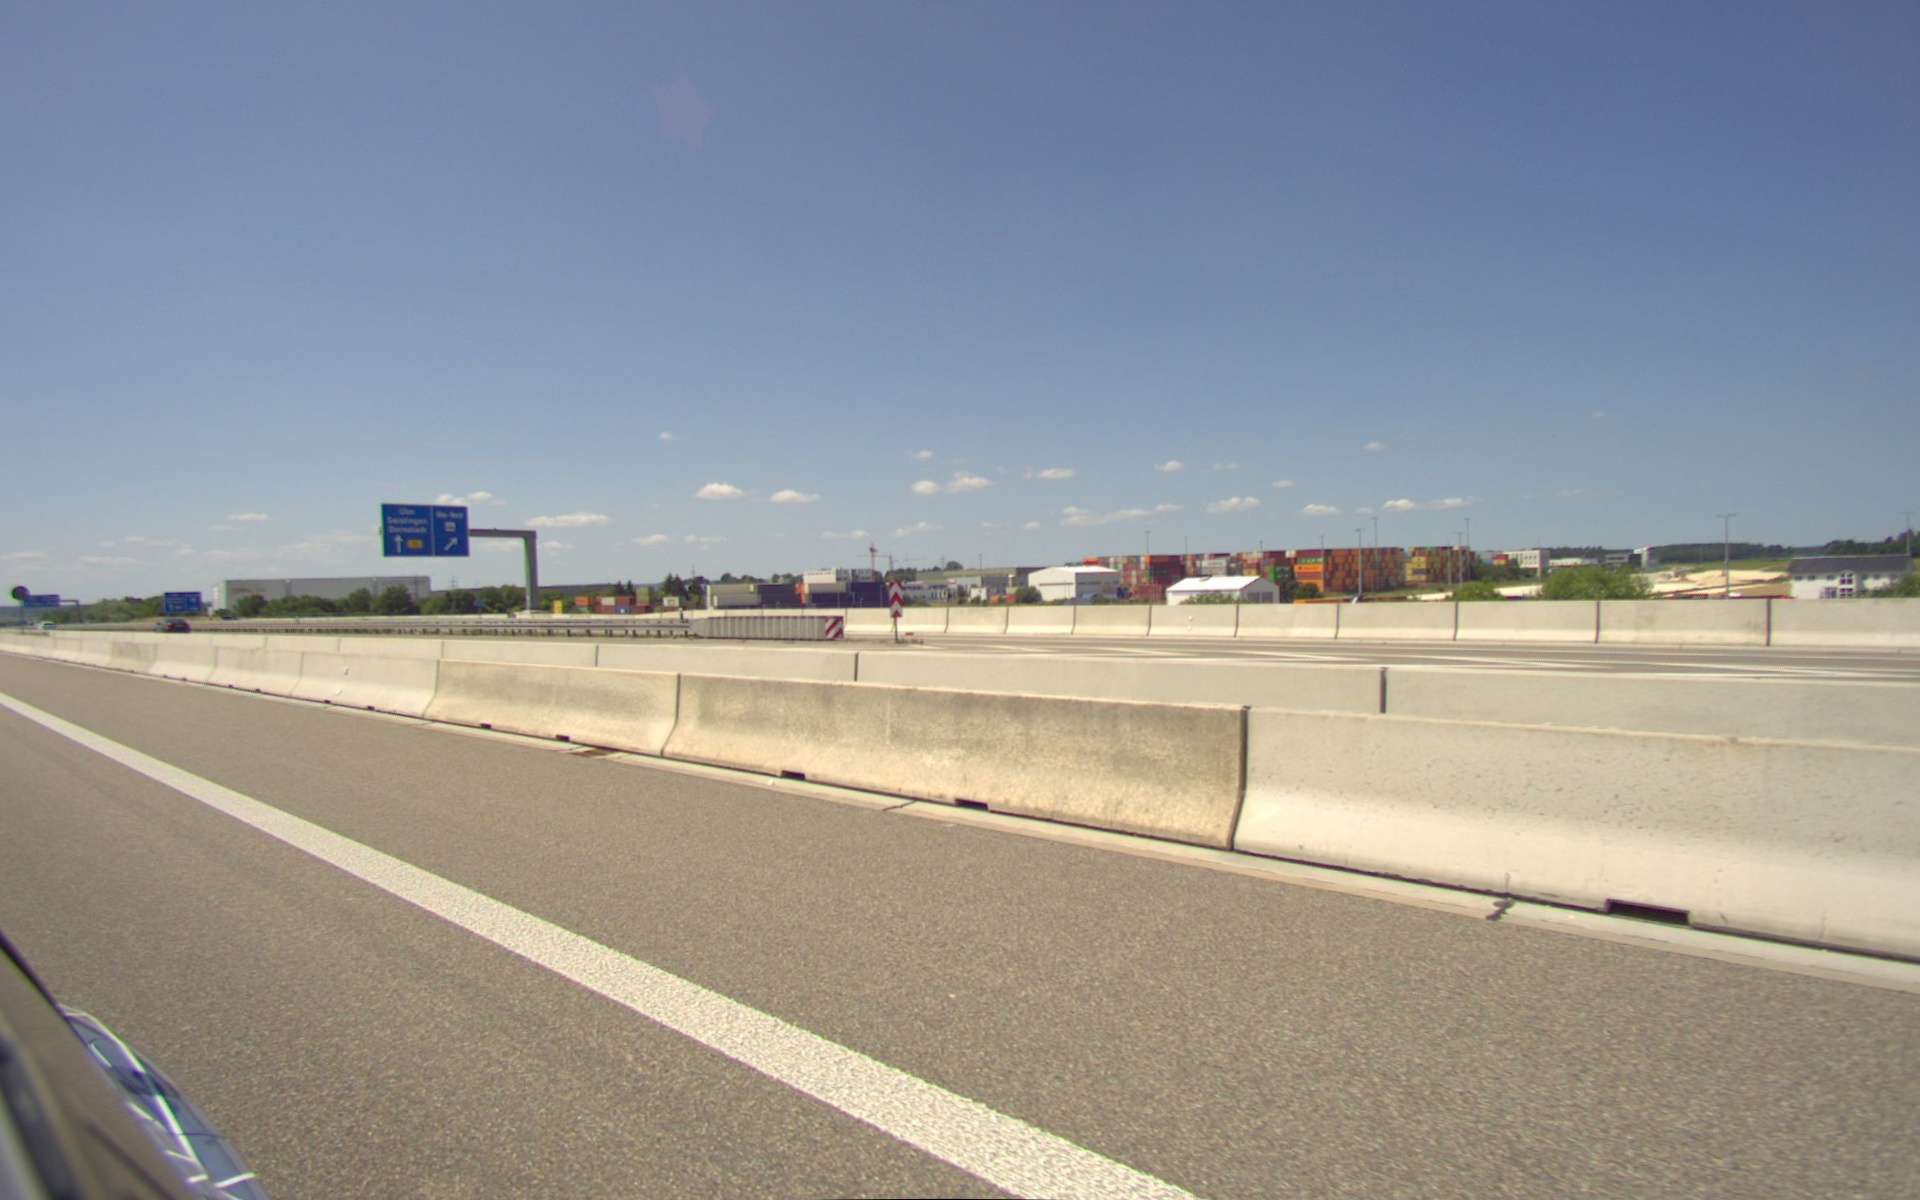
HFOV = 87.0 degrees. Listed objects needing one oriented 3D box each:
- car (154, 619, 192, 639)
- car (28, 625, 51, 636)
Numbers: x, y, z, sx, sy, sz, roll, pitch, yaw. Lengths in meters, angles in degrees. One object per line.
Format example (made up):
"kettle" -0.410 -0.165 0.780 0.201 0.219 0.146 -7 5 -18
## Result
"car" -64.468 2.388 82.884 4.547 1.548 1.714 -1 0 42
"car" -121.784 4.052 133.863 4.440 1.446 1.790 -2 0 42
